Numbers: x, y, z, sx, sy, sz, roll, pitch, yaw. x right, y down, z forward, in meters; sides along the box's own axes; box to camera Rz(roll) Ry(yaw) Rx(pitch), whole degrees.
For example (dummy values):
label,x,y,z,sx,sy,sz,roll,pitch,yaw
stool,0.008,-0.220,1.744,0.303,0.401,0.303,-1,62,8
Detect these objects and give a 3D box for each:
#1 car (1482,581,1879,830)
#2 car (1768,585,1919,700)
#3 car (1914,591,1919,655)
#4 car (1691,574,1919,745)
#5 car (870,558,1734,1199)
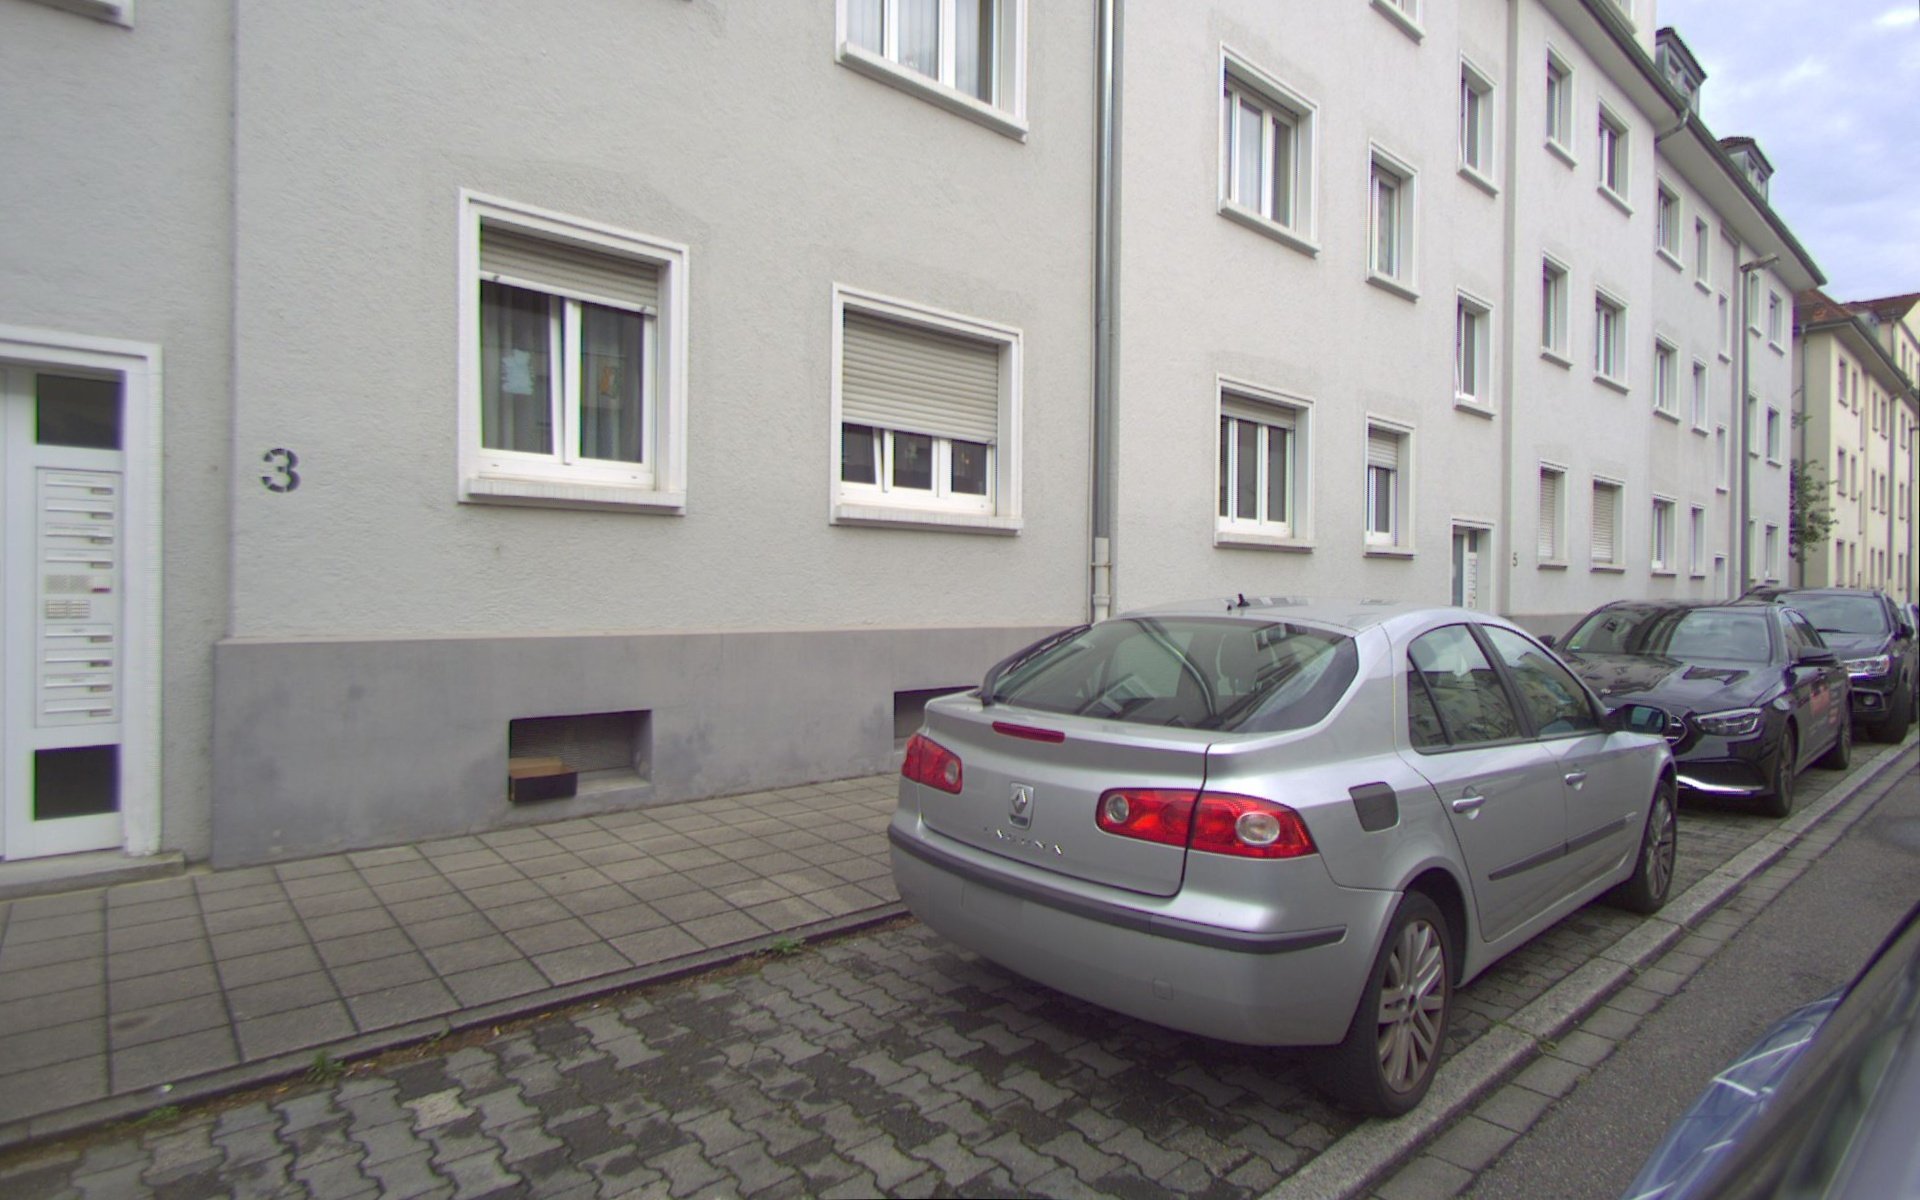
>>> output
label,x,y,z,sx,sy,sz,roll,pitch,yaw
car,5.986,0.628,8.191,4.249,1.481,1.784,0,1,-43
car,13.602,0.559,15.145,3.691,1.505,1.735,0,1,-41
car,25.274,0.575,25.352,3.615,1.566,1.735,0,1,-43
car,10.042,0.553,11.659,4.089,1.619,1.850,0,1,-43
car,1.864,0.629,4.460,4.355,1.481,1.735,0,1,-43
